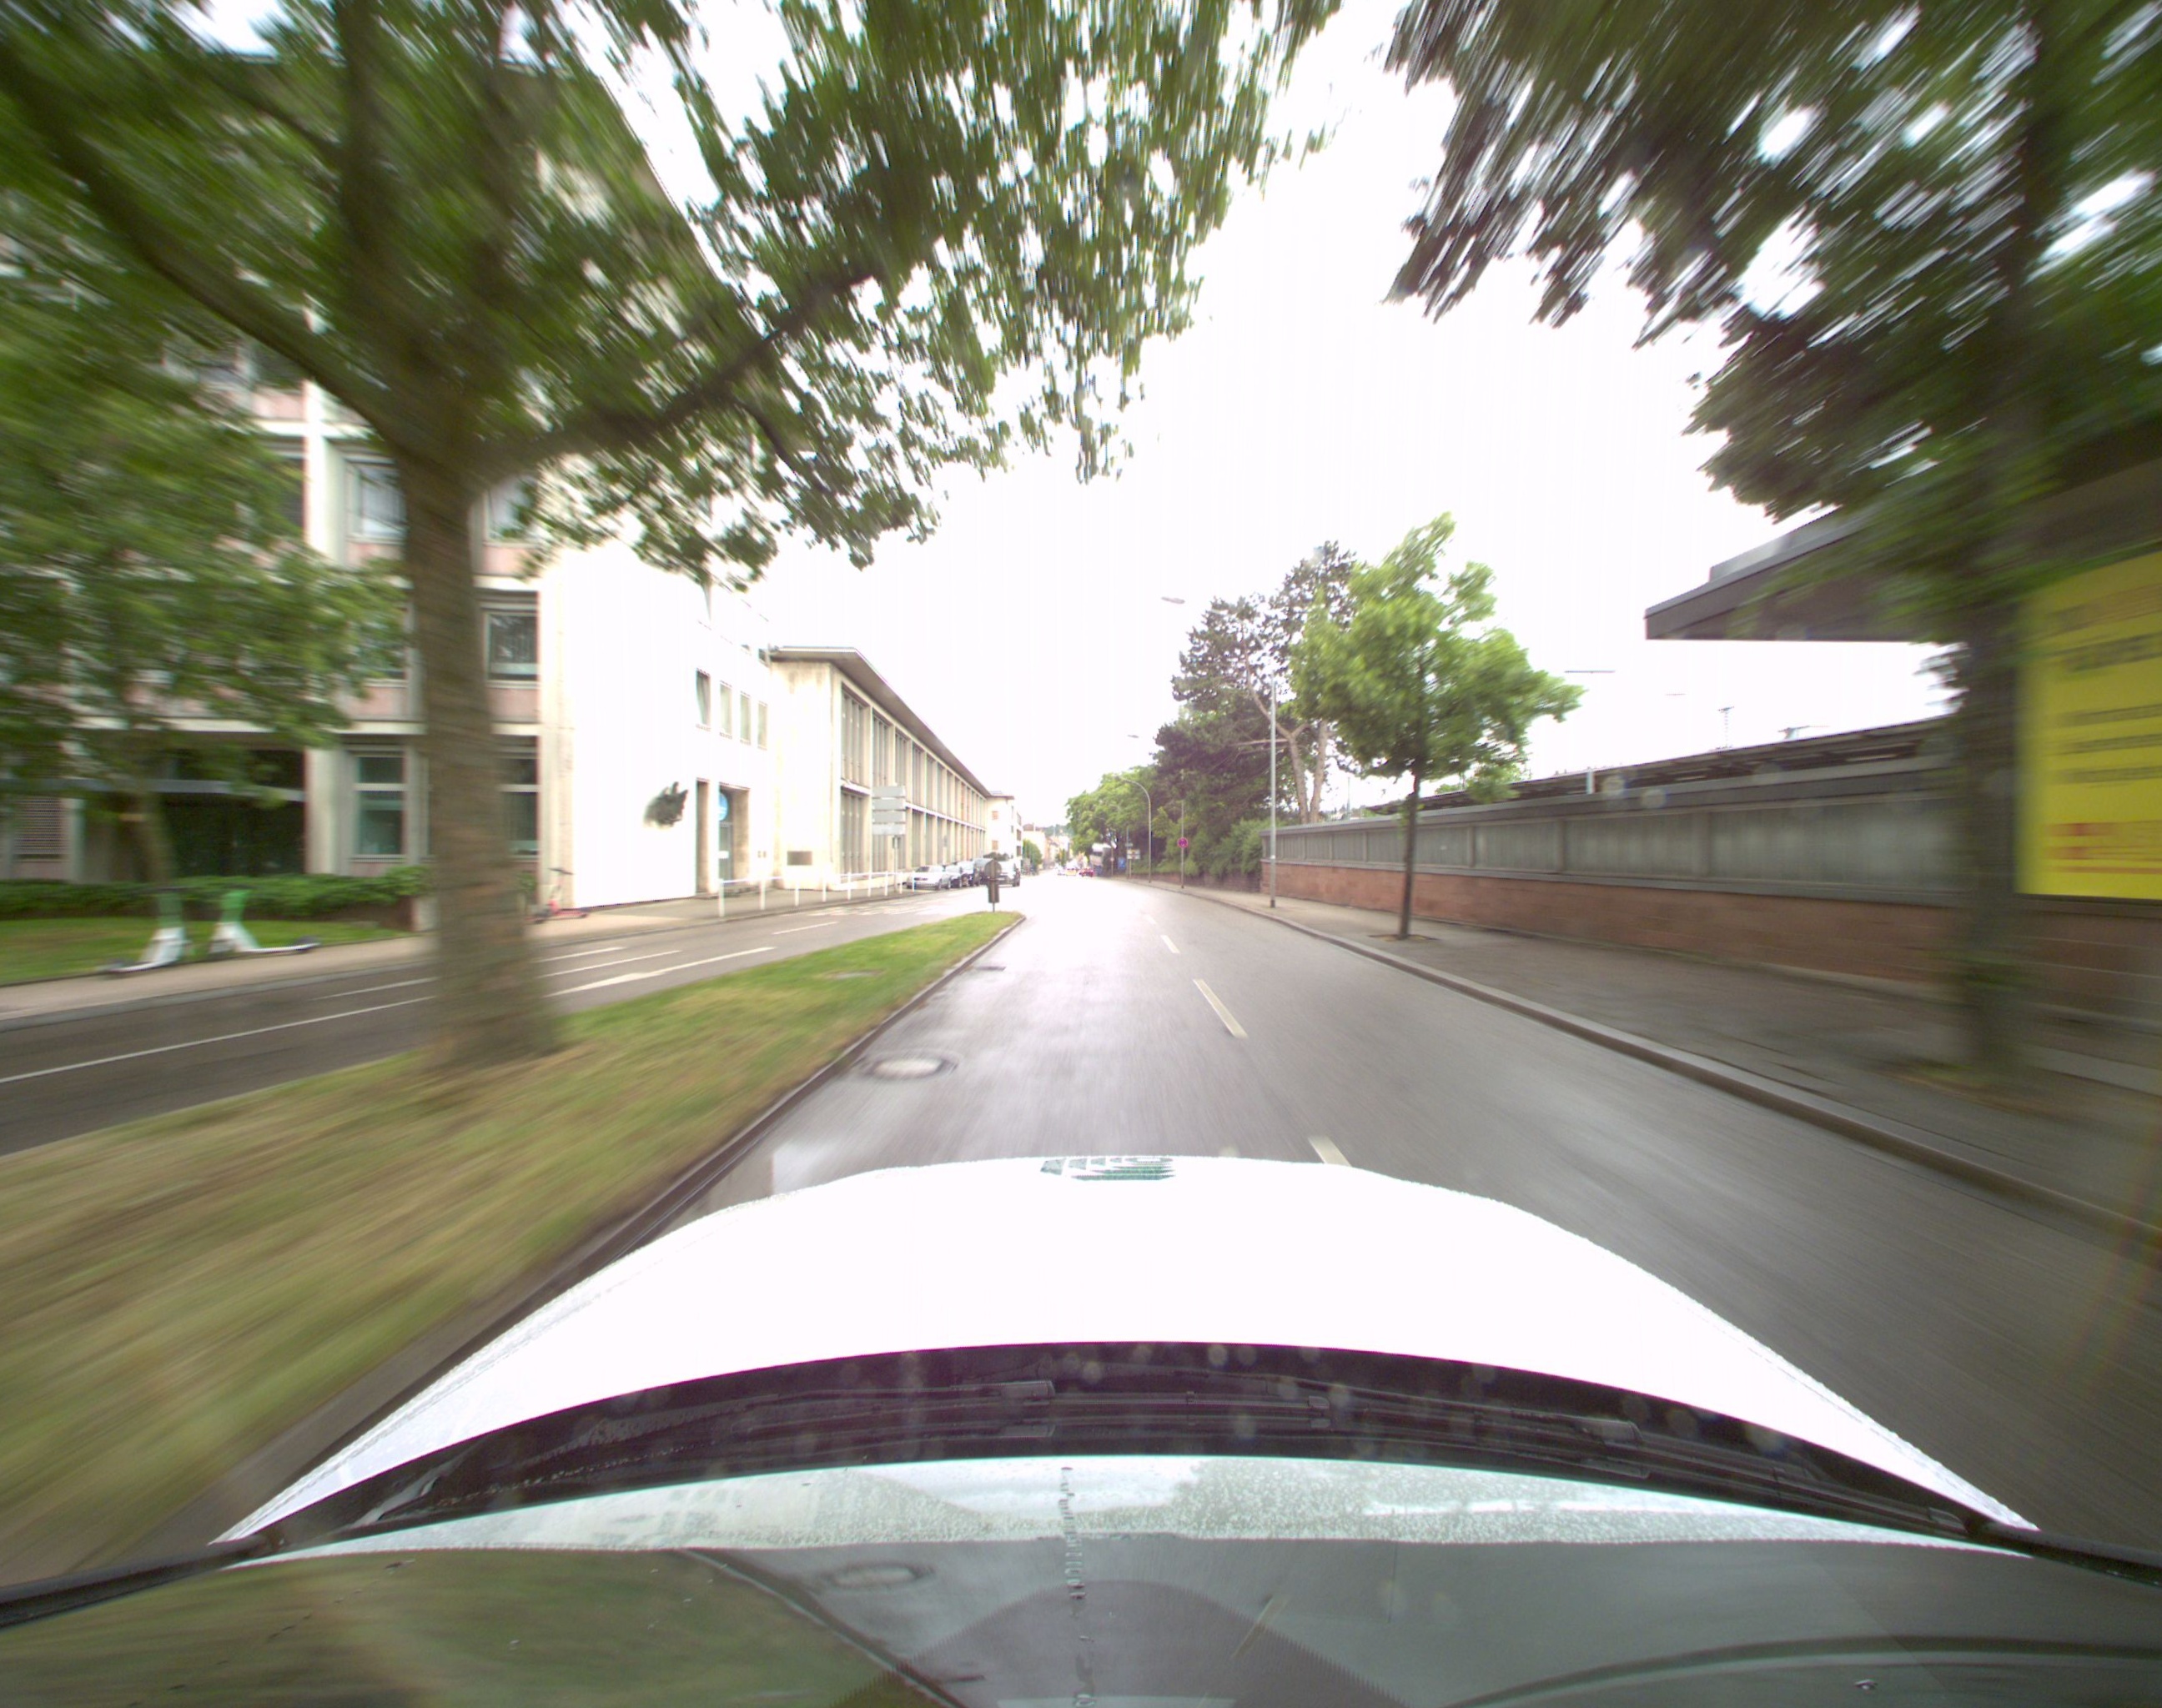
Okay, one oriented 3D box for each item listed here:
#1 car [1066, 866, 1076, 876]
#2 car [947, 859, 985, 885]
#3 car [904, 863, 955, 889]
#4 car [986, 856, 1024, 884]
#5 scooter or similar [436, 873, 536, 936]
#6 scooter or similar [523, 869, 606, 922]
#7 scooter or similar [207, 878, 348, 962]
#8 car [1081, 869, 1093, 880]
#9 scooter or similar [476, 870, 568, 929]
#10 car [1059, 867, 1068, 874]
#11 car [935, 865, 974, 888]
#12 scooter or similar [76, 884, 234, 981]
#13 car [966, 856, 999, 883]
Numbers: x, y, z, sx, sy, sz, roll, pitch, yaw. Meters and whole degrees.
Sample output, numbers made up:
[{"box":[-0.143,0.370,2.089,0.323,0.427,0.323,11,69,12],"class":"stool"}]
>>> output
[{"box":[-1.943,3.254,160.289,1.988,1.838,3.998,-2,0,-1],"class":"car"},{"box":[-7.581,1.170,54.266,1.791,1.675,4.603,0,-1,1],"class":"car"},{"box":[-7.935,1.125,43.102,1.684,1.297,4.096,0,0,4],"class":"car"},{"box":[-4.848,1.007,52.581,1.814,1.660,4.341,-1,0,3],"class":"car"},{"box":[-12.218,1.007,16.765,0.601,1.192,1.538,-1,0,35],"class":"scooter or similar"},{"box":[-12.278,0.968,19.406,0.601,1.164,1.538,-1,0,35],"class":"scooter or similar"},{"box":[-12.656,1.009,12.898,0.567,1.192,1.576,-1,0,5],"class":"scooter or similar"},{"box":[1.165,3.835,155.448,2.085,1.910,4.098,-2,0,-1],"class":"car"},{"box":[-12.388,0.985,18.083,0.601,1.192,1.538,-1,0,35],"class":"scooter or similar"},{"box":[-4.393,4.149,202.275,1.991,1.680,3.991,-1,0,-7],"class":"car"},{"box":[-7.558,1.326,48.885,1.537,1.353,4.111,0,-1,2],"class":"car"},{"box":[-12.673,1.034,11.212,0.487,1.167,1.501,-1,0,-2],"class":"scooter or similar"},{"box":[-7.549,1.169,62.658,1.942,1.944,4.995,0,-1,0],"class":"car"}]
